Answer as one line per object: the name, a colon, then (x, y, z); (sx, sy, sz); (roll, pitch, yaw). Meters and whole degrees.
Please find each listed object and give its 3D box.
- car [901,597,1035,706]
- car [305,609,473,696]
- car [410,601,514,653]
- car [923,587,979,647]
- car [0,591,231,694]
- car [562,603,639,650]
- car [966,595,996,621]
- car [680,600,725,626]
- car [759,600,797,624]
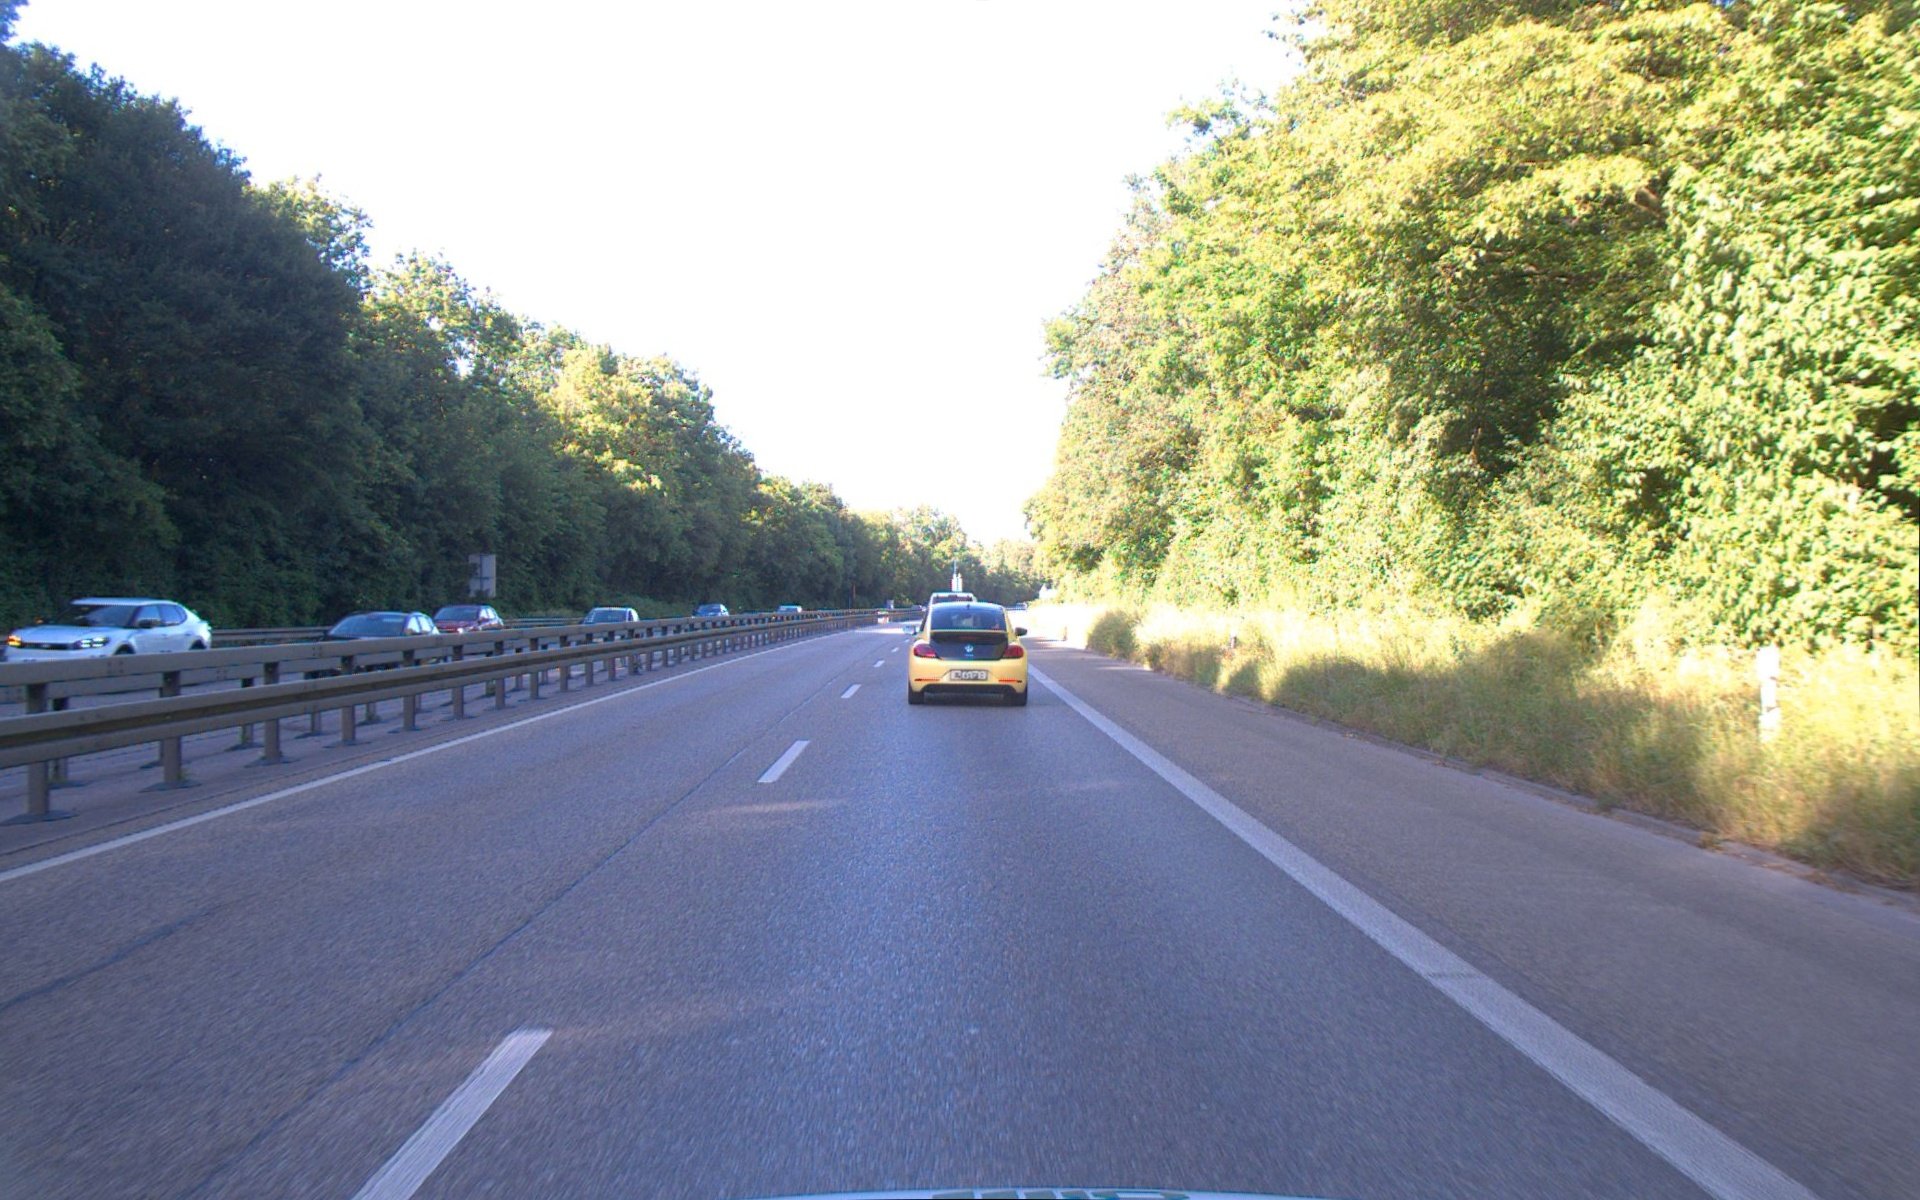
car: (0.183, 0.726, 25.055); (1.899, 1.535, 3.423); (0, 0, 2)
car: (-10.953, 0.968, 32.014); (1.688, 1.494, 4.097); (-2, 0, 2)
car: (-15.391, 0.815, 51.343); (1.953, 1.489, 4.000); (-2, 0, 0)
car: (-0.269, 0.527, 53.166); (1.705, 1.862, 3.422); (1, 0, 0)
car: (-15.215, 0.708, 29.716); (1.952, 1.651, 4.790); (-2, 0, 2)
car: (-11.774, 0.904, 54.391); (1.689, 1.397, 4.095); (-2, -2, -1)
car: (1.612, 0.631, 127.392); (2.216, 1.908, 5.076); (1, 0, 1)
car: (-15.761, 0.809, 101.429); (1.953, 1.489, 4.902); (-2, 0, 0)
car: (-12.182, 0.785, 110.898); (1.953, 1.489, 4.740); (-2, 0, 0)
